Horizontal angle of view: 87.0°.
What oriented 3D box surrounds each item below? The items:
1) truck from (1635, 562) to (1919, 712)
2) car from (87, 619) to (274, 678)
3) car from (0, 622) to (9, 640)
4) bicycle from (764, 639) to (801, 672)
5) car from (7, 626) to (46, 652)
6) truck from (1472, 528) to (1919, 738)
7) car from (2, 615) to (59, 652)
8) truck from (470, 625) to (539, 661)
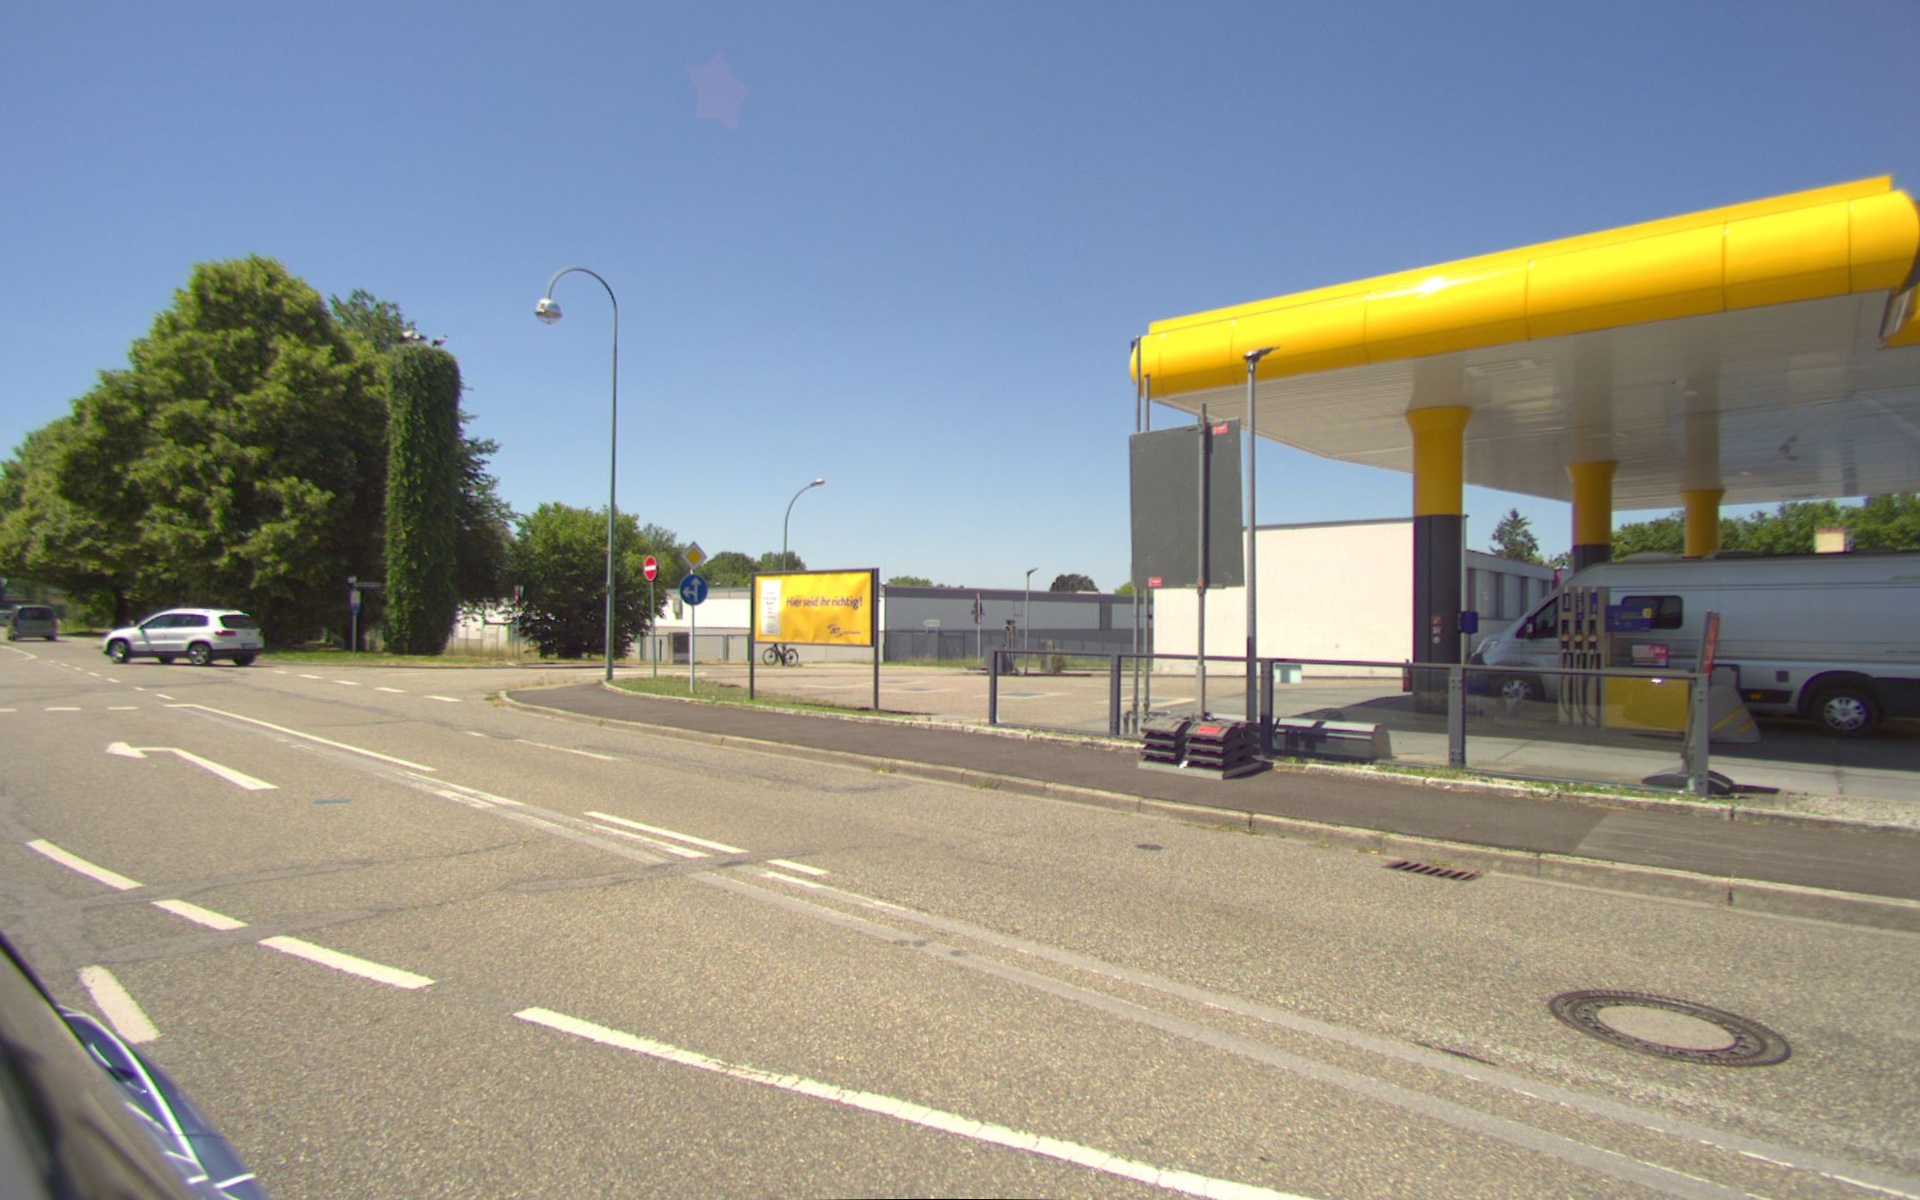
[{"bbox_3d":[17.238,0.661,19.360,2.878,2.618,6.618,1,0,-34],"label":"truck"},{"bbox_3d":[-23.393,1.438,30.478,4.192,1.685,1.973,0,-1,4],"label":"car"},{"bbox_3d":[-101.833,3.275,106.897,5.301,1.848,1.856,0,-2,45],"label":"car"},{"bbox_3d":[-7.467,2.313,42.527,1.517,1.359,0.395,2,-2,-41],"label":"bicycle"},{"bbox_3d":[-66.888,2.781,72.576,1.800,1.795,4.789,3,-2,-41],"label":"car"},{"bbox_3d":[11.480,0.418,14.857,2.207,2.618,6.739,1,0,-43],"label":"truck"},{"bbox_3d":[-47.710,1.713,51.916,4.364,1.786,1.776,-1,-3,43],"label":"car"},{"bbox_3d":[-39.164,3.565,86.793,2.652,2.818,10.174,0,-1,-40],"label":"truck"}]
